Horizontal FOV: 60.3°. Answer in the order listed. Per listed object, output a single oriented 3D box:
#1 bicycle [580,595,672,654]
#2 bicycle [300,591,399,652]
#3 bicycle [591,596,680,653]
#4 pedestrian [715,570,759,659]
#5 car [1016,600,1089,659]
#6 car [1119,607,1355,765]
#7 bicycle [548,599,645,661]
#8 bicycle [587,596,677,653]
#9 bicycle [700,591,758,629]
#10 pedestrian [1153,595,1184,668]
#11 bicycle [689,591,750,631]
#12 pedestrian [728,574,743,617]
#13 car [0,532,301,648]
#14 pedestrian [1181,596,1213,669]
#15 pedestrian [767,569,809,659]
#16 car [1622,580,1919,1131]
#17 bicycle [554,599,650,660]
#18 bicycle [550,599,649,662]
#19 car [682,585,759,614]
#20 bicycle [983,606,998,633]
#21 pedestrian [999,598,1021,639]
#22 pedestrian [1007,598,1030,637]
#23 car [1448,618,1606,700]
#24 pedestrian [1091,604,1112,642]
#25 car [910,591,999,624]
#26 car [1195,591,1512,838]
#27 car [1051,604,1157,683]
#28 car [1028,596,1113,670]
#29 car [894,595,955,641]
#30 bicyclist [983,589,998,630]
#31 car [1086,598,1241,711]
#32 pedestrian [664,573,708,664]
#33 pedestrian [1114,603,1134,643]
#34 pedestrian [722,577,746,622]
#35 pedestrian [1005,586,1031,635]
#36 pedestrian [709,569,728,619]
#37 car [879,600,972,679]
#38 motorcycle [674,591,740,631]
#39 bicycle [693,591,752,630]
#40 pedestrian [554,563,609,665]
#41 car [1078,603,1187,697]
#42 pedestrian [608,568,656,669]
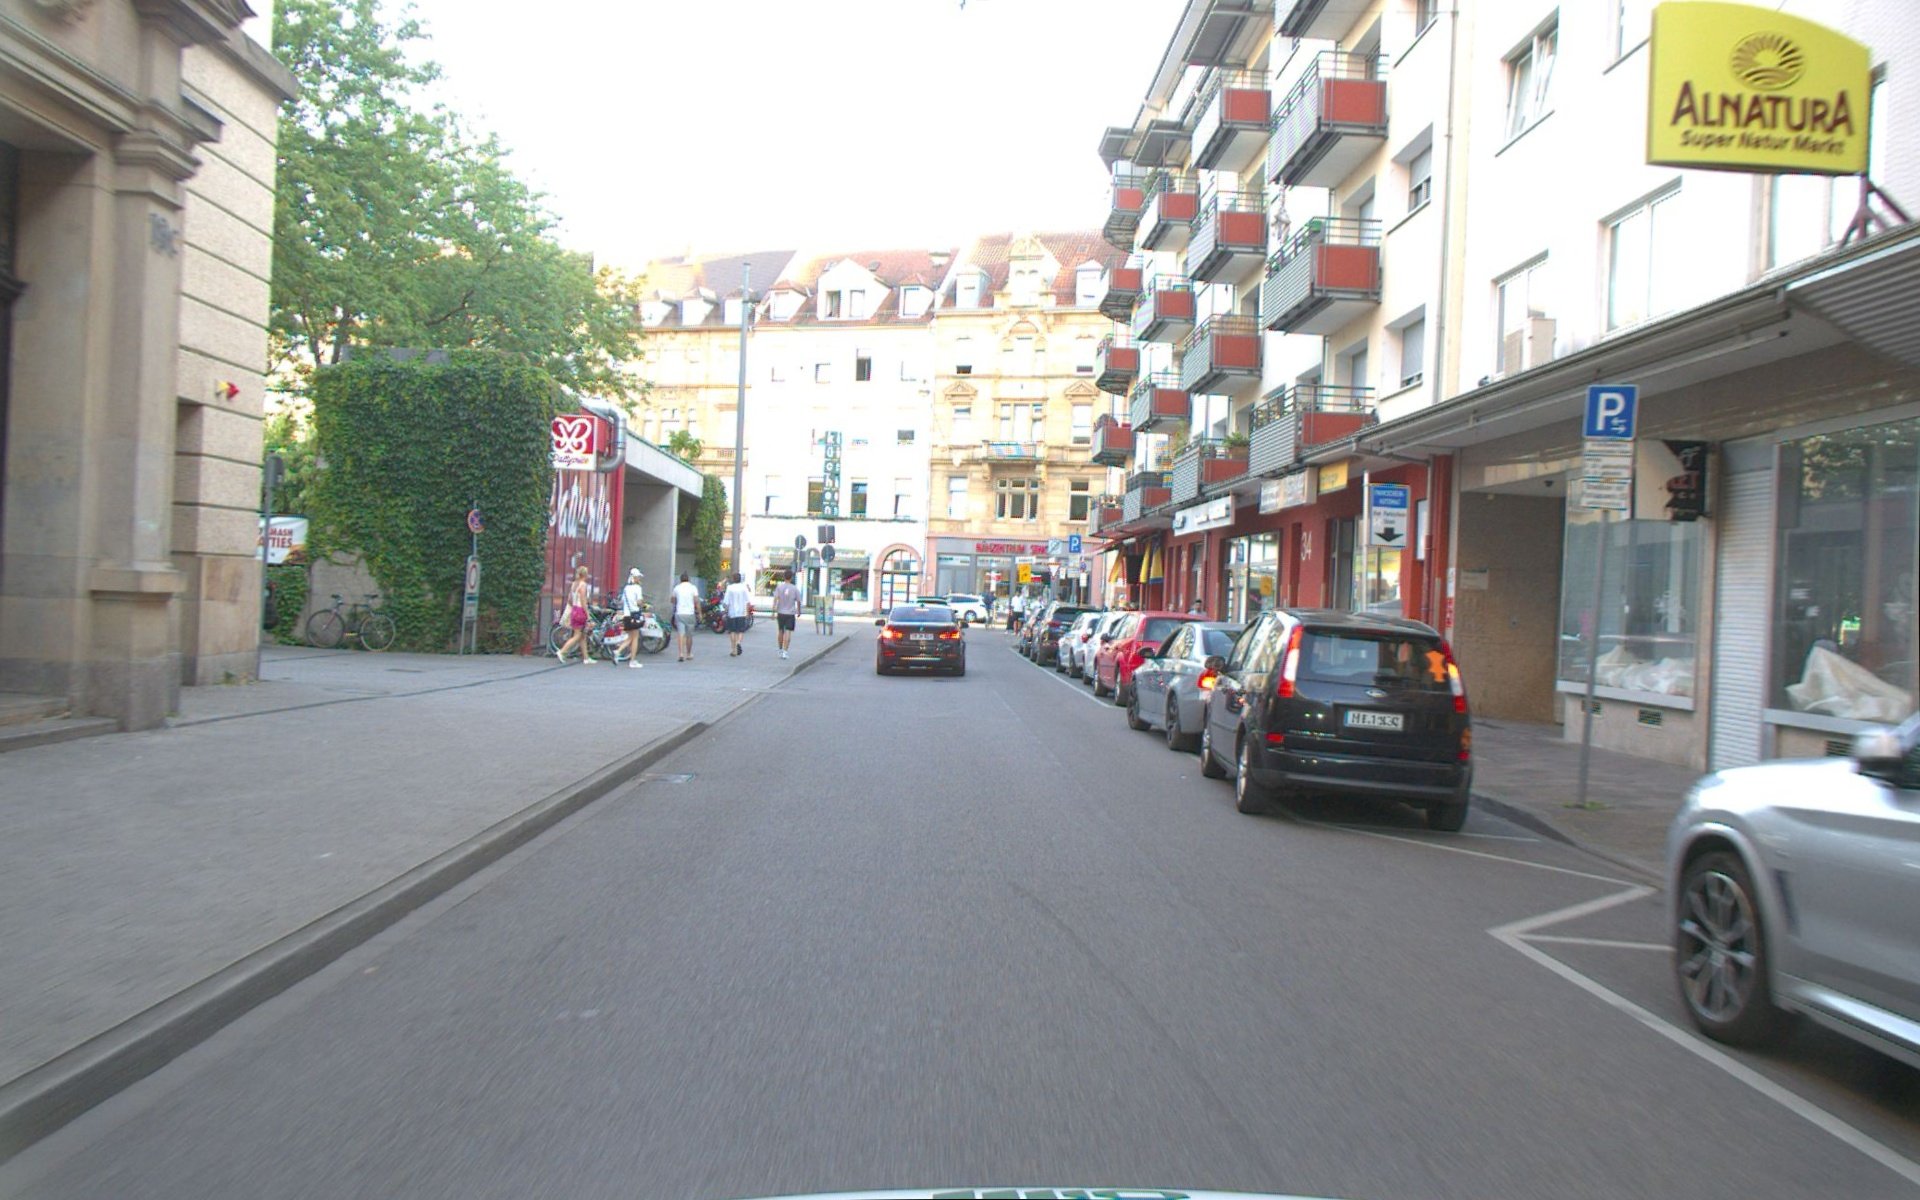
[{"bbox_3d":[-6.967,0.515,34.520,1.757,1.127,0.500,3,0,2],"label":"bicycle"},{"bbox_3d":[-11.178,0.394,30.301,1.626,1.031,0.370,3,0,0],"label":"bicycle"},{"bbox_3d":[-6.983,0.520,35.622,1.757,1.127,0.500,3,0,2],"label":"bicycle"},{"bbox_3d":[-4.822,0.304,35.790,0.726,1.844,1.008,4,0,-2],"label":"pedestrian"},{"bbox_3d":[2.717,0.840,49.537,1.729,1.528,4.790,4,0,-1],"label":"car"},{"bbox_3d":[3.113,0.904,19.539,1.702,1.439,4.680,4,0,-3],"label":"car"},{"bbox_3d":[-7.098,0.576,32.340,1.758,1.127,0.500,2,0,-3],"label":"bicycle"},{"bbox_3d":[-6.966,0.518,35.152,1.757,1.127,0.500,3,0,2],"label":"bicycle"},{"bbox_3d":[-7.507,0.320,53.728,1.758,1.127,0.500,4,0,-2],"label":"bicycle"},{"bbox_3d":[4.905,0.738,38.921,0.635,1.690,0.655,-1,0,0],"label":"pedestrian"},{"bbox_3d":[-7.464,0.327,51.319,1.757,1.127,0.500,4,0,1],"label":"bicycle"},{"bbox_3d":[-8.811,-0.194,64.892,0.490,1.672,0.521,2,0,1],"label":"pedestrian"},{"bbox_3d":[-13.759,-0.174,28.223,4.133,1.790,2.067,2,0,0],"label":"car"},{"bbox_3d":[5.561,0.758,38.811,0.635,1.690,0.794,-1,0,0],"label":"pedestrian"},{"bbox_3d":[-3.791,0.297,36.508,0.729,1.926,1.050,3,0,-1],"label":"pedestrian"},{"bbox_3d":[3.865,0.855,4.935,1.717,1.697,4.756,4,0,-1],"label":"car"},{"bbox_3d":[-7.112,0.574,32.875,1.758,1.127,0.500,2,0,-3],"label":"bicycle"},{"bbox_3d":[-6.964,0.582,31.997,1.758,1.127,0.500,2,0,-2],"label":"bicycle"},{"bbox_3d":[-13.490,-0.032,93.223,3.905,1.537,1.800,2,-1,21],"label":"car"},{"bbox_3d":[1.339,0.860,73.118,0.525,1.127,1.801,3,0,4],"label":"bicycle"},{"bbox_3d":[2.063,0.768,68.292,0.711,1.636,0.648,4,0,-10],"label":"pedestrian"},{"bbox_3d":[2.380,0.702,67.634,0.722,1.539,0.648,4,0,-10],"label":"pedestrian"},{"bbox_3d":[10.904,1.102,32.067,1.704,1.360,4.000,2,0,1],"label":"car"},{"bbox_3d":[4.907,0.808,57.391,0.672,1.309,0.609,1,-1,8],"label":"pedestrian"},{"bbox_3d":[-0.288,0.407,87.507,4.262,1.589,1.868,2,-1,21],"label":"car"},{"bbox_3d":[3.153,0.812,14.163,1.757,1.637,4.488,4,0,3],"label":"car"},{"bbox_3d":[3.166,0.920,37.118,1.665,1.477,4.456,4,0,-3],"label":"car"},{"bbox_3d":[2.856,0.829,43.648,1.729,1.670,4.789,4,0,-1],"label":"car"},{"bbox_3d":[-1.189,0.605,57.831,1.838,1.498,4.001,2,0,2],"label":"car"},{"bbox_3d":[1.349,0.422,73.096,0.512,1.787,0.620,3,0,4],"label":"bicyclist"},{"bbox_3d":[3.265,0.823,27.408,1.678,1.538,4.649,4,0,-3],"label":"car"},{"bbox_3d":[-5.509,0.359,33.263,0.702,1.785,0.848,2,0,-3],"label":"pedestrian"},{"bbox_3d":[5.715,0.805,57.772,0.594,1.371,0.696,1,0,-2],"label":"pedestrian"},{"bbox_3d":[-9.058,-0.037,66.262,0.661,1.776,0.654,2,0,38],"label":"pedestrian"},{"bbox_3d":[2.333,0.407,66.148,0.671,1.910,0.691,3,0,-39],"label":"pedestrian"},{"bbox_3d":[-9.543,-0.239,65.433,0.571,1.915,0.634,2,0,4],"label":"pedestrian"},{"bbox_3d":[-0.700,0.765,34.370,1.729,1.399,4.790,3,1,-1],"label":"car"},{"bbox_3d":[-7.530,0.337,49.289,1.764,1.082,0.764,3,0,24],"label":"motorcycle"},{"bbox_3d":[-7.460,0.325,52.068,1.760,1.127,0.499,4,0,-7],"label":"bicycle"},{"bbox_3d":[-6.893,0.248,30.165,0.738,1.780,0.846,3,0,-2],"label":"pedestrian"},{"bbox_3d":[3.269,0.903,31.943,1.574,1.538,4.048,4,0,0],"label":"car"},{"bbox_3d":[-5.959,0.334,30.100,0.636,1.780,0.985,3,0,-2],"label":"pedestrian"}]
